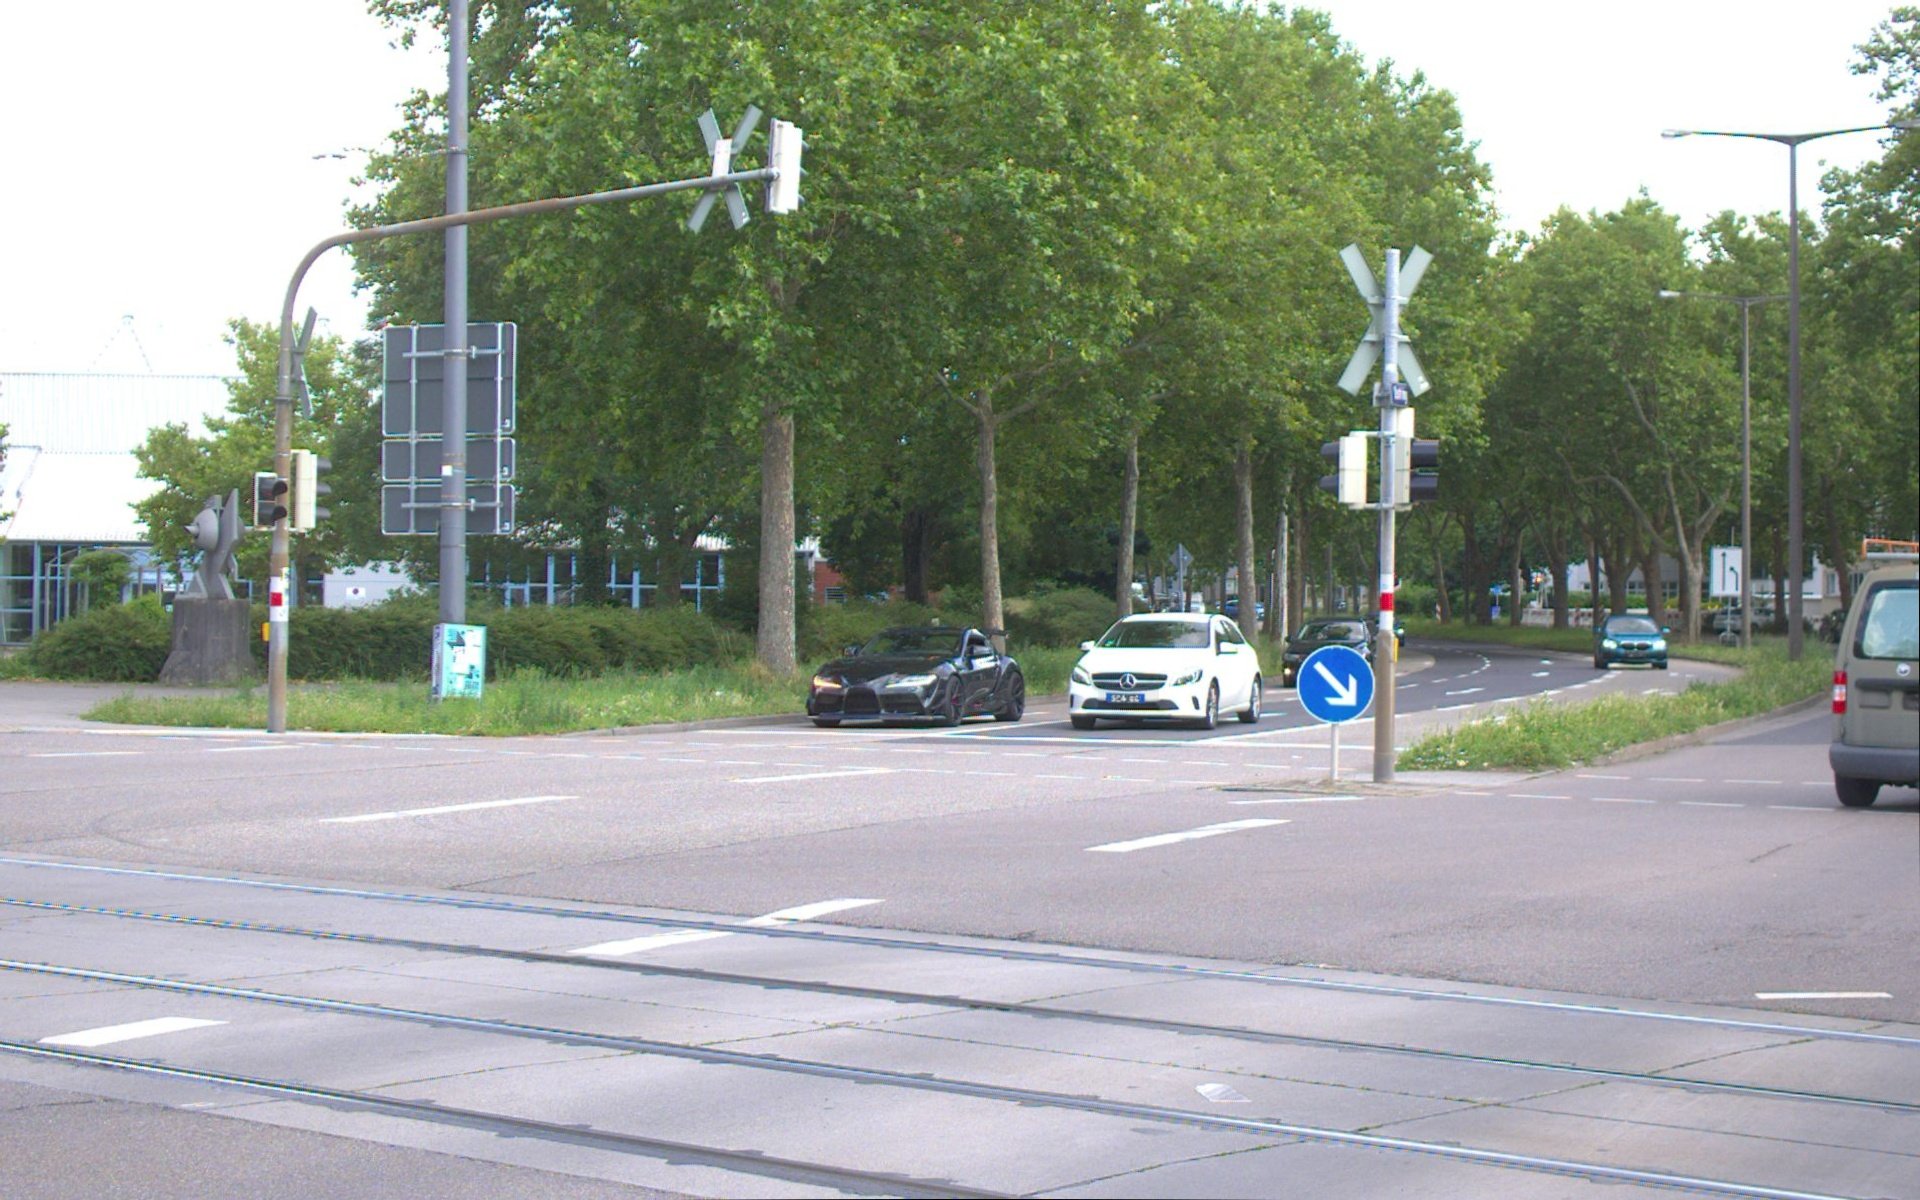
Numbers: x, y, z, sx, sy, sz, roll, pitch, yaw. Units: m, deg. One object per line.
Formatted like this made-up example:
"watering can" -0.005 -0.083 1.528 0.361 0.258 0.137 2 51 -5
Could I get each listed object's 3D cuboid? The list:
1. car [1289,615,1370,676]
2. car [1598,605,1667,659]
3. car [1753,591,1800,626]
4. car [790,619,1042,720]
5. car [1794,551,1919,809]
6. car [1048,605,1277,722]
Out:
"car" 7.839 0.950 72.739 1.635 1.187 3.707 1 0 7
"car" 18.276 0.852 93.549 1.657 1.267 3.770 0 2 8
"car" 40.627 0.393 171.086 1.994 1.568 3.999 0 2 9
"car" -0.516 0.857 43.878 1.637 1.187 3.702 1 0 28
"car" 7.944 0.575 25.858 1.881 1.794 4.362 1 0 33
"car" 2.610 0.766 43.374 1.827 1.360 4.134 1 0 19
